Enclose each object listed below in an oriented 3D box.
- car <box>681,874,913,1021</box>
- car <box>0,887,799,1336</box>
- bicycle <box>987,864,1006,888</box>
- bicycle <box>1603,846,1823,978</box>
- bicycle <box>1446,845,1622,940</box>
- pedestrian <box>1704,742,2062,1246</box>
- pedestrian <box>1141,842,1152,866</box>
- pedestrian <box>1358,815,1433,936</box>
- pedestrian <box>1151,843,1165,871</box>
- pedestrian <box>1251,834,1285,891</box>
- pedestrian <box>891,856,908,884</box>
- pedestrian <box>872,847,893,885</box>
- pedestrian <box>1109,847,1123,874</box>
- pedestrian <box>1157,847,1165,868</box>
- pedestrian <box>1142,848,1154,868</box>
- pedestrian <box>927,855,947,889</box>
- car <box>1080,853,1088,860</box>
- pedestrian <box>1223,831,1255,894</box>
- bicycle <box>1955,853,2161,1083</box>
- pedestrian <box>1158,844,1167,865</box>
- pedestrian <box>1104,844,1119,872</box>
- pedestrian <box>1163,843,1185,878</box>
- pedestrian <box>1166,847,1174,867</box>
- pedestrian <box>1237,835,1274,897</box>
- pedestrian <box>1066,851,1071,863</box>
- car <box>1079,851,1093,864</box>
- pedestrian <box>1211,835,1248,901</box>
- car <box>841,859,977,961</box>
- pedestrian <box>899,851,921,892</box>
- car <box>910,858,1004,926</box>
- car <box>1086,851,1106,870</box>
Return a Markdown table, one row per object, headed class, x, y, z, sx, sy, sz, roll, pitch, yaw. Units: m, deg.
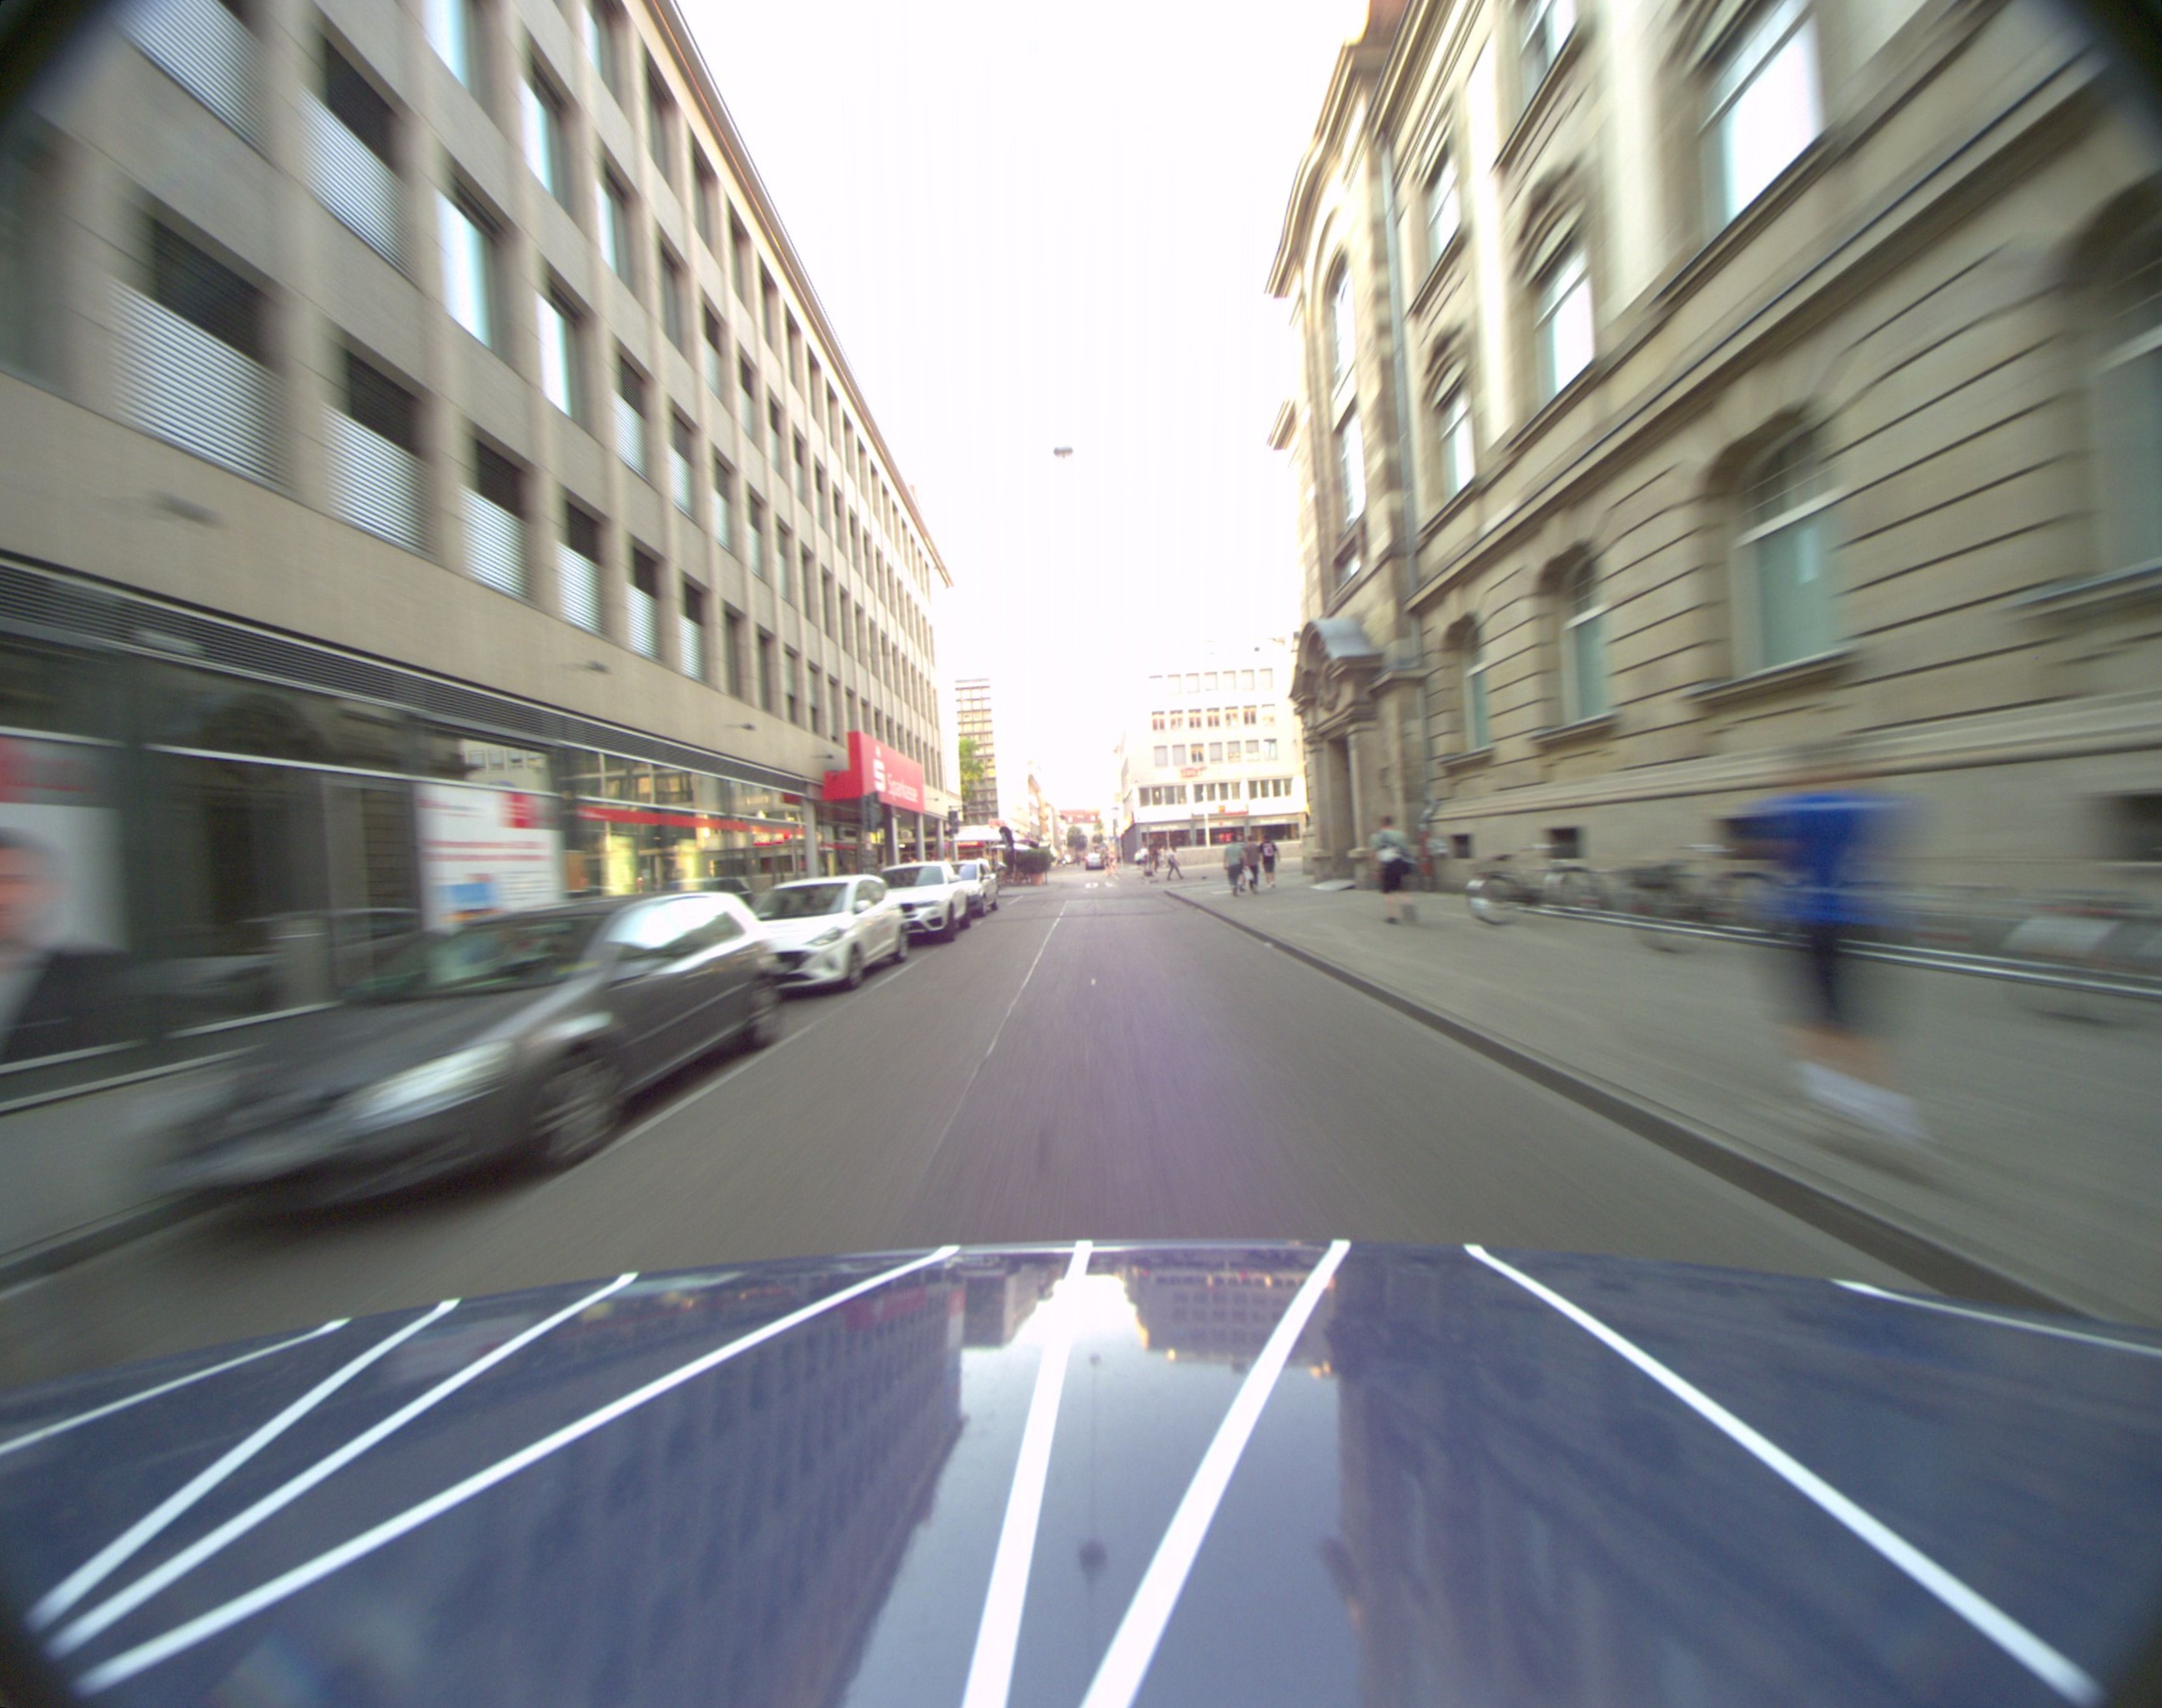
| class | x | y | z | sx | sy | sz | roll | pitch | yaw |
| --- | --- | --- | --- | --- | --- | --- | --- | --- | --- |
| car | -3.748 | 1.149 | 10.825 | 1.661 | 1.439 | 3.869 | -4 | 1 | 2 |
| car | -3.649 | 1.136 | 5.275 | 1.661 | 1.439 | 4.444 | -4 | 1 | -1 |
| bicycle | -3.891 | 1.020 | 35.198 | 0.330 | 1.027 | 1.865 | -3 | 0 | 9 |
| bicycle | 6.496 | 0.549 | 7.816 | 2.026 | 1.072 | 0.729 | -5 | 1 | -18 |
| bicycle | 6.350 | 0.513 | 10.692 | 2.024 | 1.102 | 0.730 | -5 | 1 | -5 |
| pedestrian | 3.268 | 0.503 | 3.216 | 0.776 | 1.778 | 0.822 | -4 | 1 | 30 |
| pedestrian | 5.375 | -0.021 | 62.518 | 0.783 | 1.882 | 0.642 | -3 | 1 | 1 |
| pedestrian | 4.876 | 0.320 | 11.827 | 0.719 | 1.770 | 0.800 | -5 | 1 | 1 |
| pedestrian | 4.838 | 0.187 | 47.856 | 0.732 | 1.679 | 0.746 | -3 | 1 | 3 |
| pedestrian | 5.680 | 0.245 | 23.089 | 0.757 | 1.632 | 0.749 | -6 | 1 | 8 |
| pedestrian | -11.393 | 1.006 | 47.669 | 0.796 | 1.679 | 0.769 | -3 | 1 | -1 |
| pedestrian | -9.601 | 0.575 | 36.759 | 0.799 | 1.751 | 0.687 | -3 | 1 | -3 |
| pedestrian | 2.184 | 0.405 | 47.667 | 0.795 | 1.679 | 0.769 | -3 | 1 | 3 |
| pedestrian | 6.809 | 0.308 | 64.922 | 0.545 | 1.698 | 0.558 | -4 | 1 | 1 |
| pedestrian | 5.118 | 0.306 | 58.010 | 0.676 | 1.532 | 0.641 | -4 | 1 | -19 |
| pedestrian | -7.623 | 0.971 | 40.249 | 0.801 | 1.751 | 0.686 | -3 | 1 | -27 |
| car | 0.745 | 0.642 | 179.864 | 1.799 | 1.501 | 4.000 | -3 | 0 | 1 |
| pedestrian | 4.853 | 0.251 | 23.356 | 0.718 | 1.819 | 0.870 | -6 | 1 | 8 |
| bicycle | 6.404 | 0.570 | 4.370 | 1.942 | 1.072 | 0.730 | -5 | 1 | -3 |
| pedestrian | 6.856 | 0.032 | 63.798 | 0.545 | 1.698 | 0.558 | -4 | 1 | 1 |
| pedestrian | 1.887 | 0.254 | 46.878 | 0.795 | 1.679 | 0.769 | -3 | 1 | 3 |
| pedestrian | 4.526 | 0.324 | 36.969 | 0.742 | 1.649 | 0.754 | -2 | 1 | 30 |
| pedestrian | 7.643 | 0.269 | 65.304 | 0.545 | 1.698 | 0.558 | -4 | 1 | 1 |
| pedestrian | 4.933 | 0.321 | 21.500 | 0.731 | 1.658 | 0.858 | -6 | 1 | 4 |
| pedestrian | -1.776 | 0.472 | 107.586 | 0.650 | 1.651 | 0.650 | -3 | 1 | -3 |
| car | 0.780 | 0.507 | 113.001 | 1.798 | 1.705 | 4.000 | -3 | 0 | 2 |
| pedestrian | 4.175 | 0.383 | 21.432 | 0.727 | 1.732 | 0.839 | -6 | 1 | 4 |
| car | -3.475 | 1.038 | 16.305 | 1.780 | 1.656 | 4.812 | -4 | 1 | -1 |
| pedestrian | -8.229 | 0.843 | 36.579 | 0.799 | 1.908 | 0.687 | -3 | 1 | 0 |
| car | -3.460 | 1.013 | 22.129 | 1.744 | 1.589 | 4.714 | -5 | 0 | 1 |
| car | 1.462 | 0.637 | 75.565 | 1.824 | 1.728 | 4.000 | -3 | 0 | 0 |
